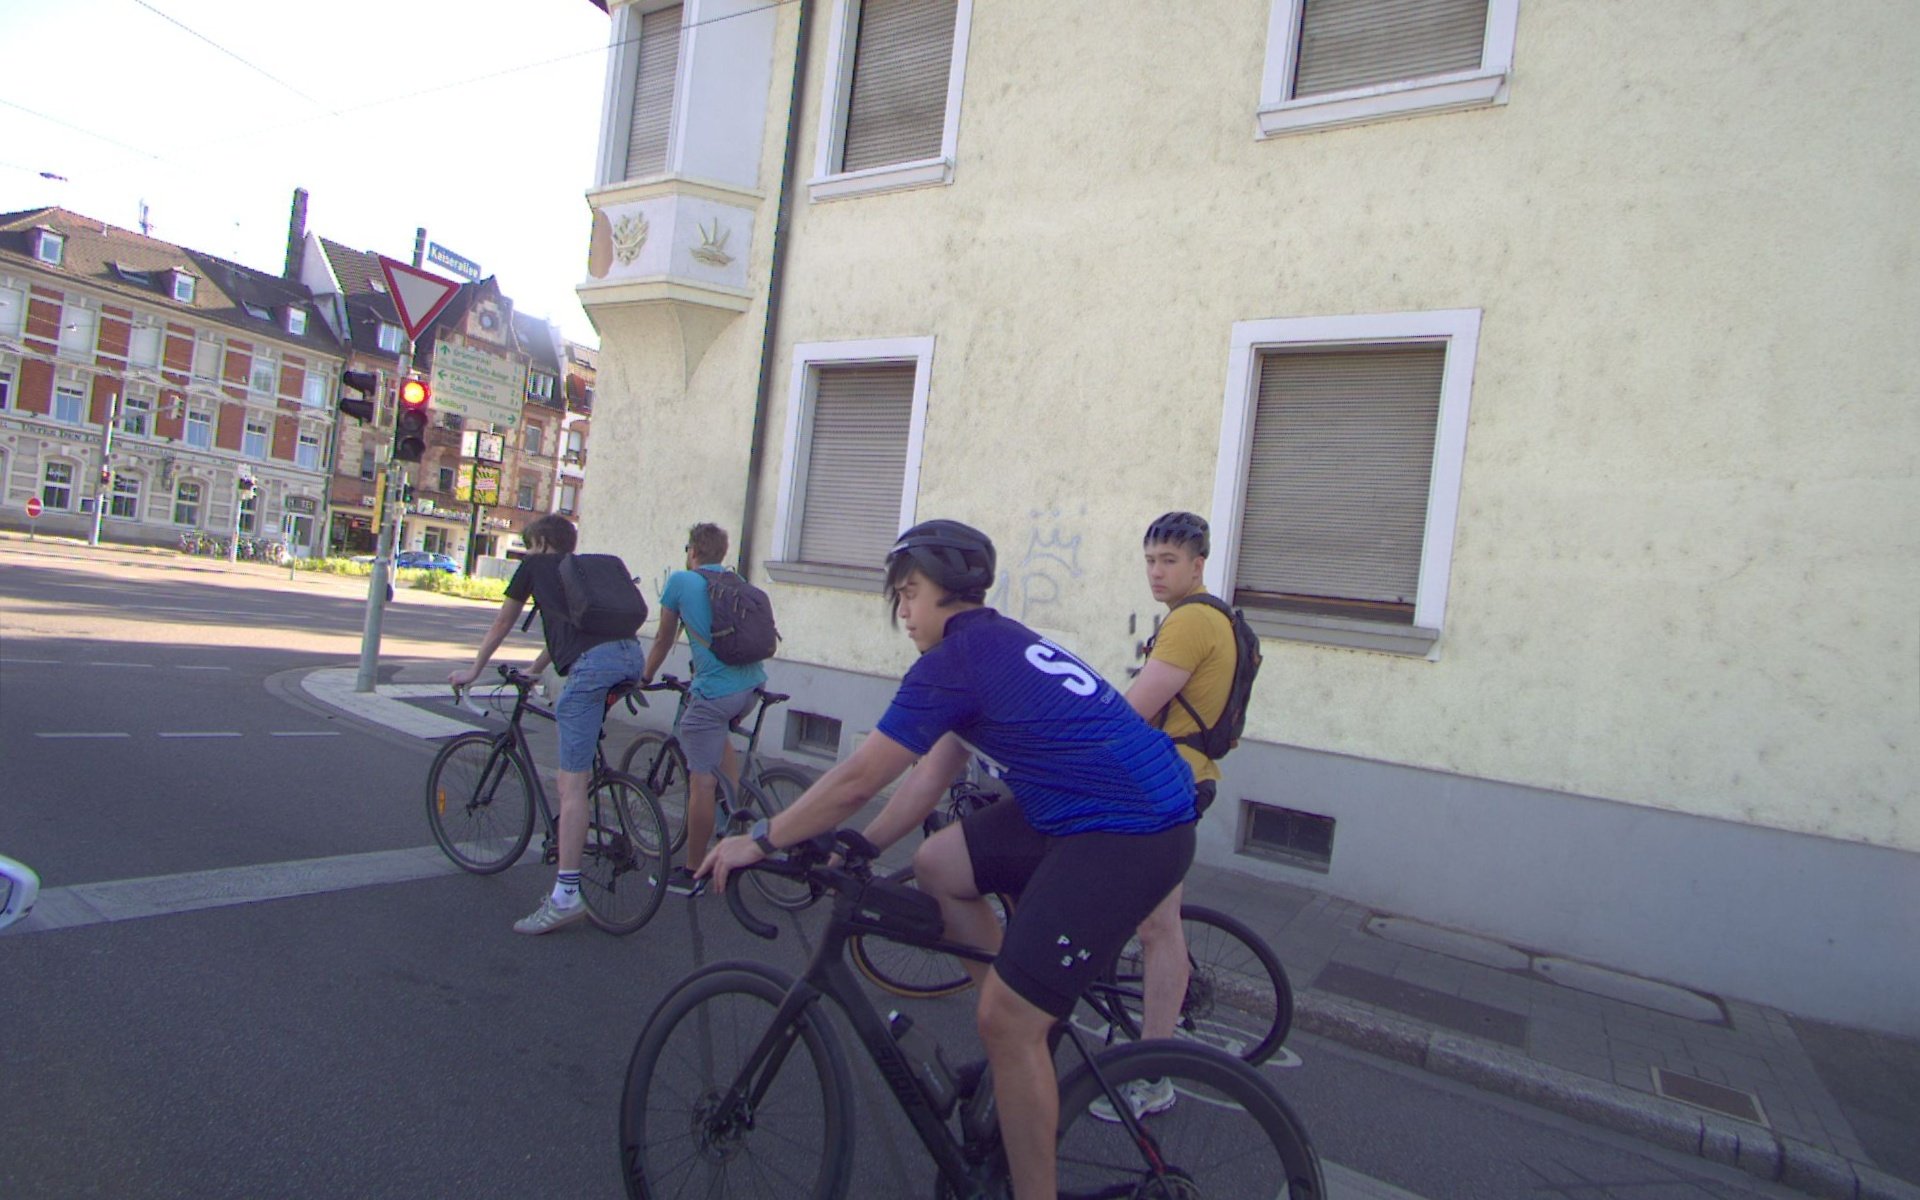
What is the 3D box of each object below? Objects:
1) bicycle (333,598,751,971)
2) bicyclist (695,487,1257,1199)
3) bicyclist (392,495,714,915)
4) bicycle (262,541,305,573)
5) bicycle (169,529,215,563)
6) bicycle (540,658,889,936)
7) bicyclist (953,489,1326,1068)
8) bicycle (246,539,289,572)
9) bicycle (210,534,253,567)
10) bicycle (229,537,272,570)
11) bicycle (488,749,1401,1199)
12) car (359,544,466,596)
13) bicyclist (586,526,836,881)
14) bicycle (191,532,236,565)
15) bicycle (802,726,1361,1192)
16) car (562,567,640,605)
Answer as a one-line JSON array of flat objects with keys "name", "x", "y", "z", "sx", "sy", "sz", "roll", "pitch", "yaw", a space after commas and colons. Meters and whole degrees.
[{"name": "bicycle", "x": -1.901, "y": 0.729, "z": 4.534, "sx": 1.674, "sy": 1.251, "sz": 0.756, "roll": 6, "pitch": -1, "yaw": 30}, {"name": "bicyclist", "x": 0.057, "y": 0.609, "z": 2.196, "sx": 0.867, "sy": 1.512, "sz": 0.641, "roll": 9, "pitch": 0, "yaw": 11}, {"name": "bicyclist", "x": -1.807, "y": 0.426, "z": 4.524, "sx": 0.868, "sy": 1.625, "sz": 0.807, "roll": 7, "pitch": -1, "yaw": 30}, {"name": "bicycle", "x": -32.676, "y": -2.064, "z": 48.589, "sx": 2.618, "sy": 1.301, "sz": 0.629, "roll": 6, "pitch": -1, "yaw": 33}, {"name": "bicycle", "x": -34.618, "y": -2.450, "z": 45.344, "sx": 2.618, "sy": 1.301, "sz": 0.693, "roll": 6, "pitch": -1, "yaw": 33}, {"name": "bicycle", "x": -1.318, "y": 0.942, "z": 5.263, "sx": 1.742, "sy": 1.043, "sz": 0.650, "roll": 6, "pitch": -1, "yaw": 33}, {"name": "bicyclist", "x": 0.652, "y": 0.536, "z": 3.530, "sx": 0.869, "sy": 1.682, "sz": 0.807, "roll": 6, "pitch": -1, "yaw": 32}, {"name": "bicycle", "x": -33.047, "y": -2.137, "z": 47.999, "sx": 2.618, "sy": 1.301, "sz": 0.629, "roll": 6, "pitch": -1, "yaw": 33}, {"name": "bicycle", "x": -33.830, "y": -2.292, "z": 46.698, "sx": 2.618, "sy": 1.301, "sz": 0.629, "roll": 6, "pitch": -1, "yaw": 33}, {"name": "bicycle", "x": -33.412, "y": -2.210, "z": 47.370, "sx": 2.618, "sy": 1.301, "sz": 0.629, "roll": 6, "pitch": -1, "yaw": 33}, {"name": "bicycle", "x": -0.055, "y": 1.023, "z": 2.212, "sx": 1.670, "sy": 1.097, "sz": 0.629, "roll": 7, "pitch": -1, "yaw": 11}, {"name": "car", "x": -25.467, "y": -1.379, "z": 46.912, "sx": 1.967, "sy": 1.798, "sz": 3.790, "roll": 6, "pitch": -2, "yaw": 31}, {"name": "bicyclist", "x": -1.303, "y": 0.505, "z": 5.292, "sx": 0.869, "sy": 1.652, "sz": 0.690, "roll": 6, "pitch": -1, "yaw": 34}, {"name": "bicycle", "x": -34.196, "y": -2.365, "z": 46.073, "sx": 2.618, "sy": 1.301, "sz": 0.693, "roll": 6, "pitch": -1, "yaw": 33}, {"name": "bicycle", "x": 0.398, "y": 1.113, "z": 3.638, "sx": 1.751, "sy": 1.043, "sz": 0.756, "roll": 6, "pitch": -2, "yaw": 33}, {"name": "car", "x": -23.240, "y": -0.871, "z": 65.293, "sx": 1.967, "sy": 1.798, "sz": 4.374, "roll": 6, "pitch": -2, "yaw": 31}]
